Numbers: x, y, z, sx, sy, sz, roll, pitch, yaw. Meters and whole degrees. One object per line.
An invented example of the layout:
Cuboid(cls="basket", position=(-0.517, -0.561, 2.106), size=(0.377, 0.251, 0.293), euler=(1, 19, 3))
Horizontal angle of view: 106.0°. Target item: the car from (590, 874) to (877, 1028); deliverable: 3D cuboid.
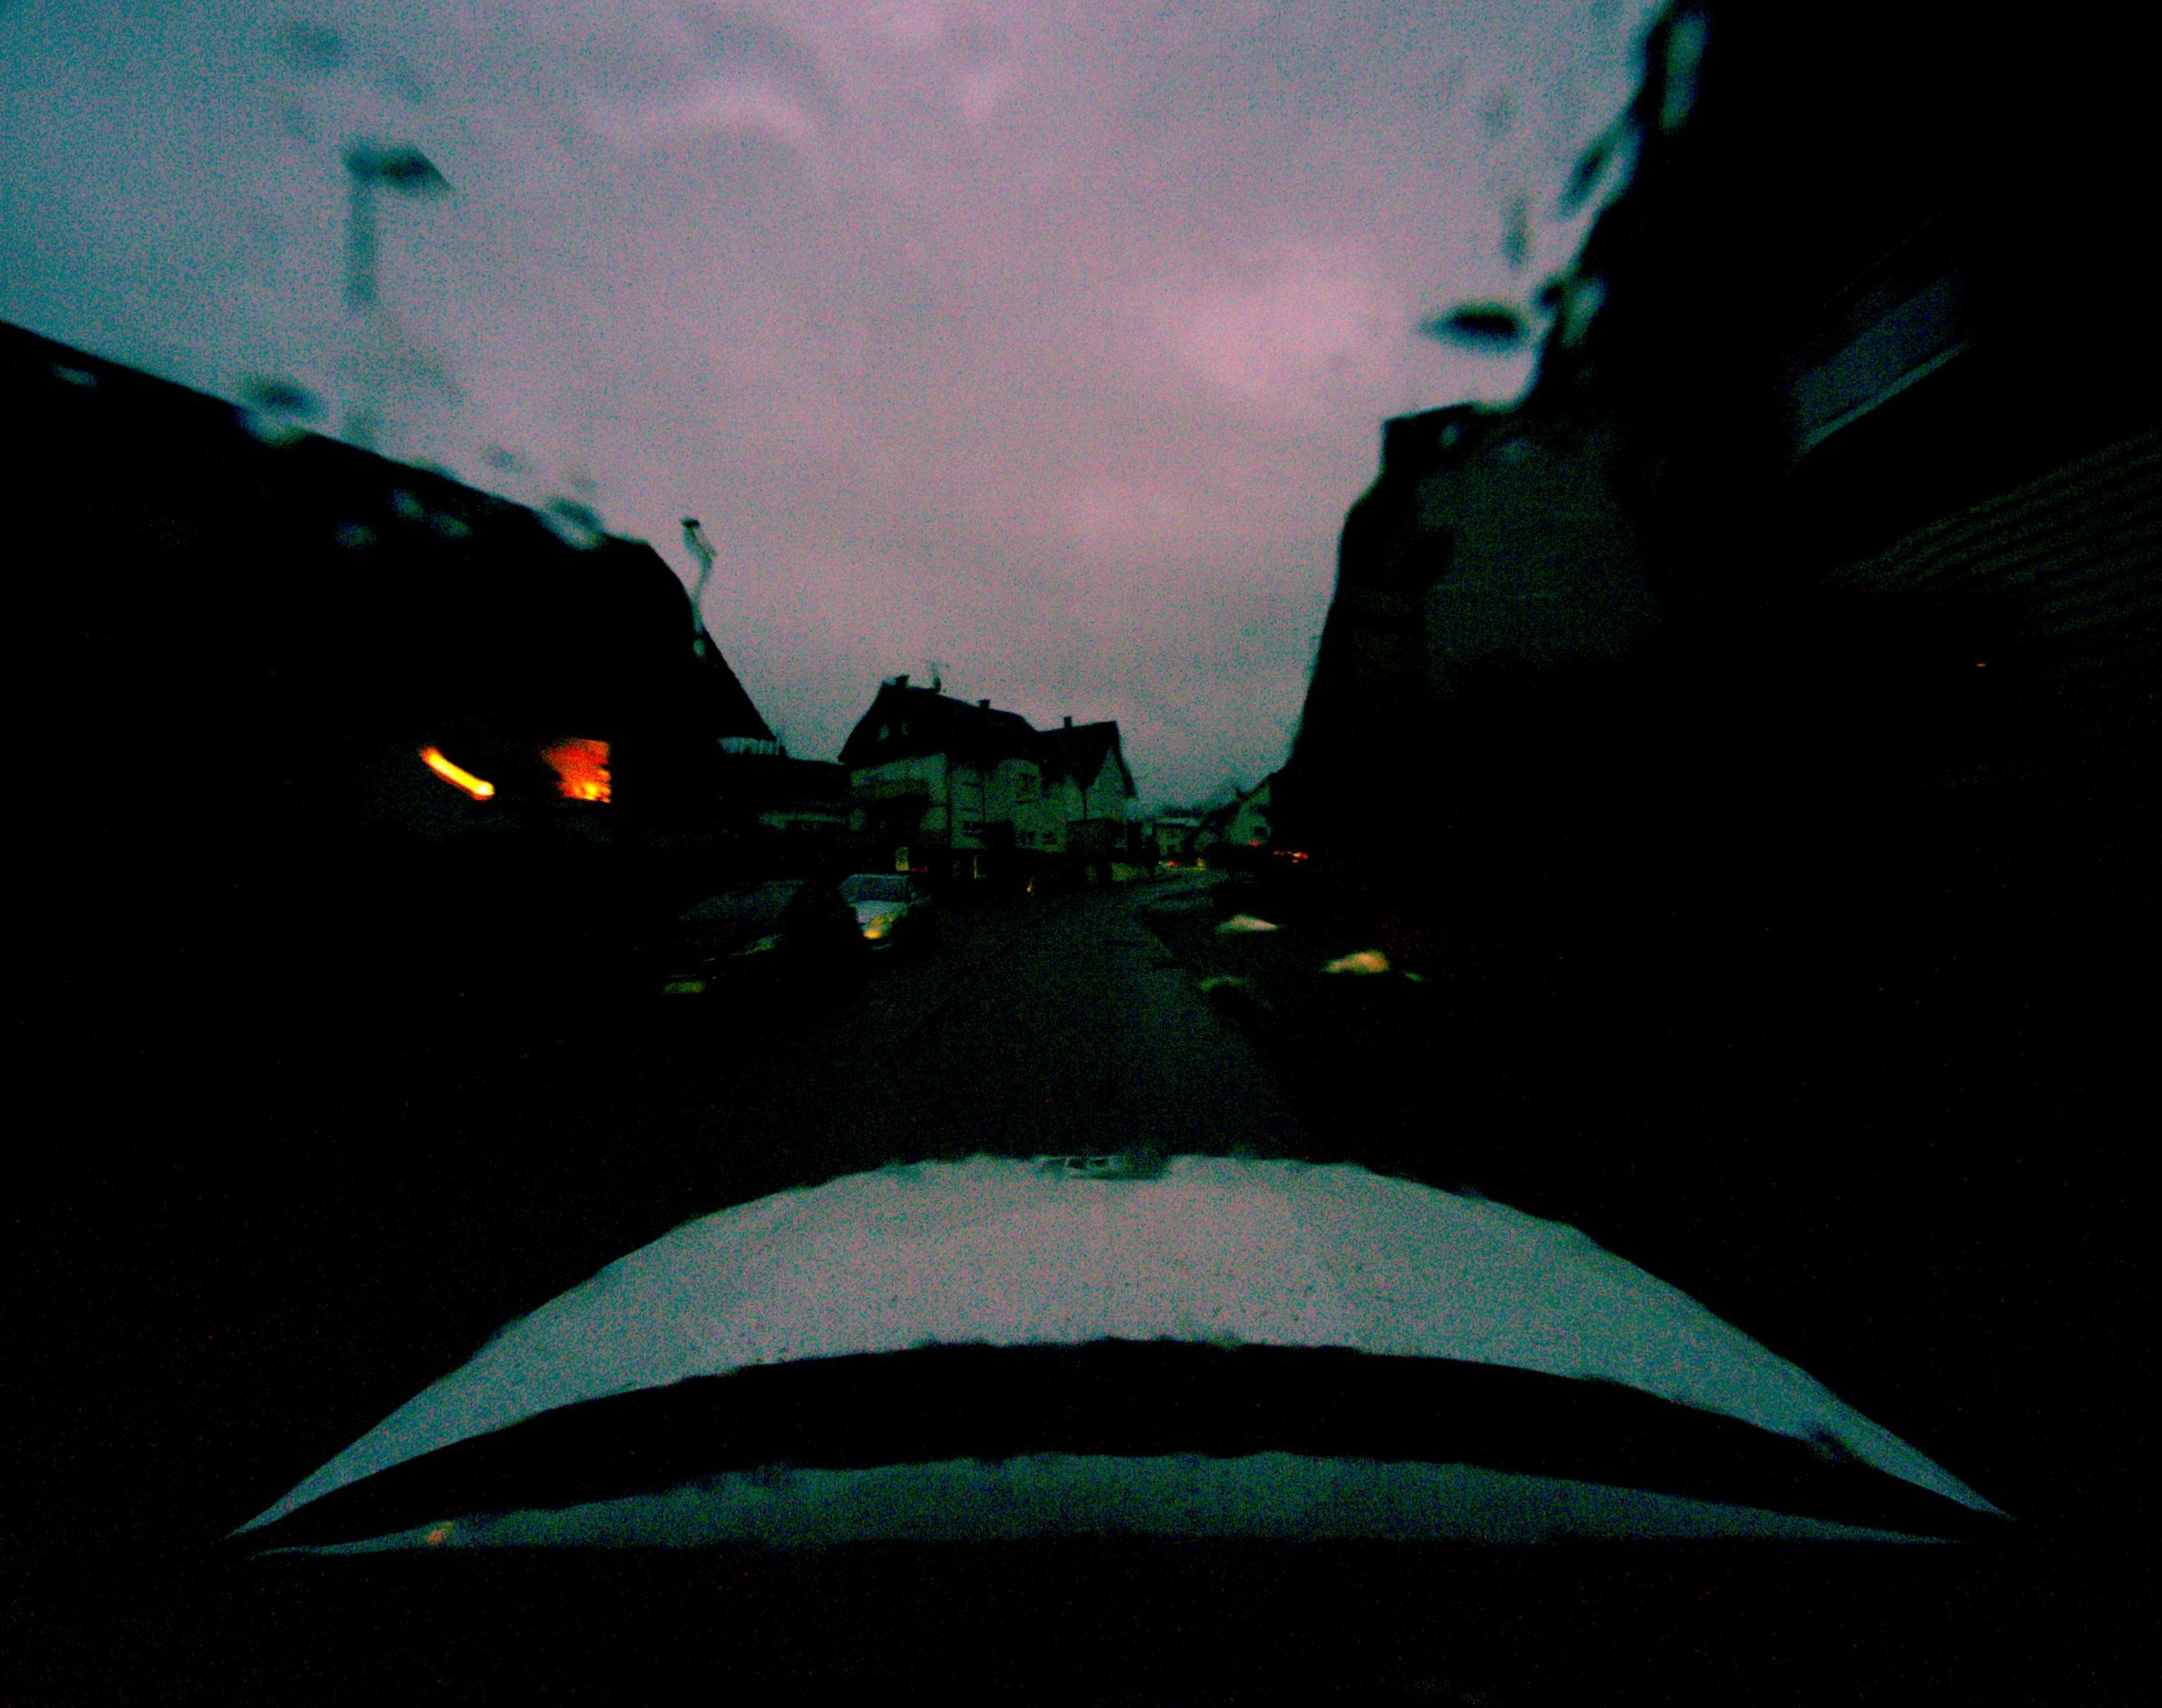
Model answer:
Cuboid(cls="car", position=(-3.976, 1.014, 10.156), size=(1.817, 1.441, 4.066), euler=(-1, -1, 0))

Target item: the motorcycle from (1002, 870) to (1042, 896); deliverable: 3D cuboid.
Cuboid(cls="motorcycle", position=(-3.139, 1.539, 43.105), size=(1.062, 1.298, 2.214), euler=(-1, -1, -36))

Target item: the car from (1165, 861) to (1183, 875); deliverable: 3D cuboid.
Cuboid(cls="car", position=(14.436, 2.182, 125.955), size=(2.096, 2.027, 5.000), euler=(-4, -1, 13))

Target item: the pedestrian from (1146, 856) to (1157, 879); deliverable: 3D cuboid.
Cuboid(cls="pedestrian", position=(5.503, 1.035, 63.446), size=(0.593, 1.733, 0.816), euler=(-2, -2, 20))

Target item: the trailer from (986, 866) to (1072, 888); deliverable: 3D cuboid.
Cuboid(cls="trailer", position=(-2.864, 1.284, 45.582), size=(2.038, 1.169, 4.898), euler=(-3, -3, 38))

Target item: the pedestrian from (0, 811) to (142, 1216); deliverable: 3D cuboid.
Cuboid(cls="pedestrian", position=(-5.097, 0.700, 3.660), size=(0.704, 1.779, 0.812), euler=(1, -2, 0))

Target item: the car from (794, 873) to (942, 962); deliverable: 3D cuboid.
Cuboid(cls="car", position=(-3.896, 1.110, 15.631), size=(1.743, 1.389, 4.145), euler=(-1, -1, 0))
